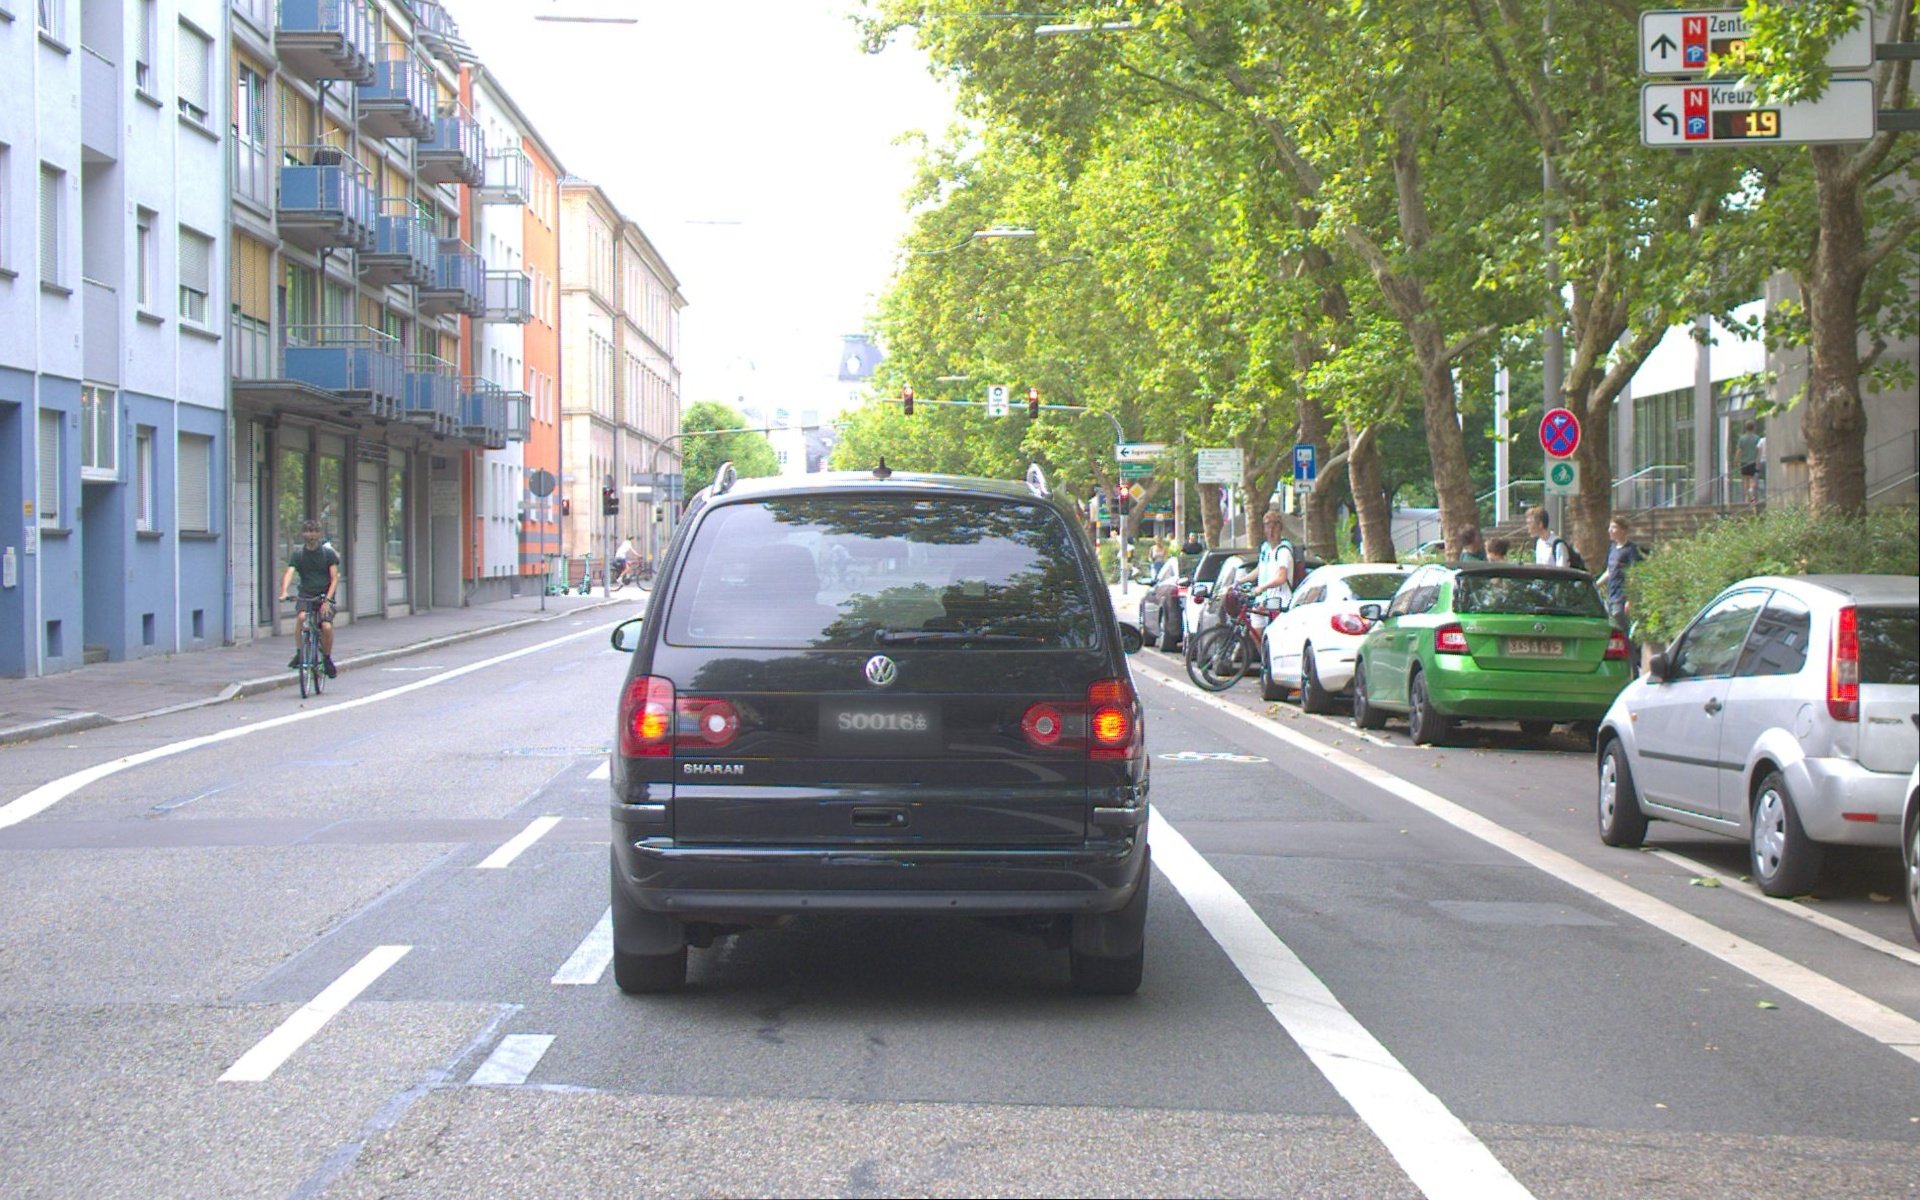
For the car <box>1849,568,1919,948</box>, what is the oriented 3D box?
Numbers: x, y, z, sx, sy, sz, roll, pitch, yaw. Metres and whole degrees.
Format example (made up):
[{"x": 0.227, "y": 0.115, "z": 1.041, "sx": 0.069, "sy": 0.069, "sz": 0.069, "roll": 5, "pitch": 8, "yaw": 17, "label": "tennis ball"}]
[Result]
[{"x": 4.580, "y": 0.656, "z": 12.027, "sx": 1.754, "sy": 1.442, "sz": 4.218, "roll": 2, "pitch": 1, "yaw": -1, "label": "car"}]

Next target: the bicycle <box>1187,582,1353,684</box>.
[{"x": 3.449, "y": 0.364, "z": 38.232, "sx": 1.734, "sy": 1.102, "sz": 0.552, "roll": 1, "pitch": 1, "yaw": -12, "label": "bicycle"}]

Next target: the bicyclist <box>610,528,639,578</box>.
[{"x": -10.462, "y": -1.467, "z": 107.256, "sx": 0.855, "sy": 1.562, "sz": 0.577, "roll": 1, "pitch": 0, "yaw": -9, "label": "bicyclist"}]

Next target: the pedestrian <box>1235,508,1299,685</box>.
[{"x": 3.385, "y": -0.048, "z": 37.954, "sx": 0.474, "sy": 1.928, "sz": 0.745, "roll": 1, "pitch": 1, "yaw": -12, "label": "pedestrian"}]

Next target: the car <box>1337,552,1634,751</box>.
[{"x": 4.235, "y": 0.370, "z": 28.244, "sx": 1.587, "sy": 1.445, "sz": 3.806, "roll": 2, "pitch": 1, "yaw": -3, "label": "car"}]

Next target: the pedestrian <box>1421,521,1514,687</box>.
[{"x": 5.631, "y": 0.042, "z": 38.170, "sx": 0.871, "sy": 1.810, "sz": 0.780, "roll": 1, "pitch": 1, "yaw": -1, "label": "pedestrian"}]

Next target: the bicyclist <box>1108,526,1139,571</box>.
[{"x": 5.471, "y": -1.727, "z": 115.293, "sx": 0.914, "sy": 1.461, "sz": 0.570, "roll": 1, "pitch": 1, "yaw": -11, "label": "bicyclist"}]

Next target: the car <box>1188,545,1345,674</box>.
[{"x": 3.782, "y": 0.081, "z": 42.837, "sx": 1.528, "sy": 1.497, "sz": 3.660, "roll": 1, "pitch": 1, "yaw": -1, "label": "car"}]

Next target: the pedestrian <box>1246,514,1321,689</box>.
[{"x": 3.447, "y": 0.010, "z": 36.646, "sx": 0.519, "sy": 1.839, "sz": 0.745, "roll": 1, "pitch": 1, "yaw": -16, "label": "pedestrian"}]

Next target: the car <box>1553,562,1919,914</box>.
[{"x": 4.210, "y": 0.582, "z": 16.571, "sx": 1.642, "sy": 1.442, "sz": 3.883, "roll": 2, "pitch": 1, "yaw": -6, "label": "car"}]

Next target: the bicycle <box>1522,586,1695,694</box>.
[{"x": 6.978, "y": 0.433, "z": 36.973, "sx": 1.766, "sy": 1.128, "sz": 0.462, "roll": 1, "pitch": 1, "yaw": -13, "label": "bicycle"}]

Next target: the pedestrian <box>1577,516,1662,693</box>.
[{"x": 7.007, "y": 0.043, "z": 36.561, "sx": 0.721, "sy": 1.848, "sz": 0.703, "roll": 1, "pitch": 1, "yaw": -1, "label": "pedestrian"}]

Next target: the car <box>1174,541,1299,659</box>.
[{"x": 3.782, "y": -0.023, "z": 47.382, "sx": 1.535, "sy": 1.538, "sz": 2.599, "roll": 2, "pitch": 1, "yaw": 2, "label": "car"}]

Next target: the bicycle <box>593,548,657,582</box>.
[{"x": -10.446, "y": -1.084, "z": 107.260, "sx": 1.924, "sy": 1.025, "sz": 0.583, "roll": 1, "pitch": 1, "yaw": -9, "label": "bicycle"}]

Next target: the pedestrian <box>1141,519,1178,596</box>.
[{"x": 4.690, "y": -1.009, "z": 81.012, "sx": 0.710, "sy": 1.777, "sz": 1.034, "roll": -2, "pitch": 0, "yaw": -2, "label": "pedestrian"}]

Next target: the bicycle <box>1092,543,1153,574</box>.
[{"x": 5.445, "y": -1.388, "z": 115.301, "sx": 1.924, "sy": 1.025, "sz": 0.583, "roll": 1, "pitch": 1, "yaw": -11, "label": "bicycle"}]

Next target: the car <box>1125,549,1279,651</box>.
[{"x": 3.602, "y": -0.037, "z": 51.845, "sx": 1.697, "sy": 1.420, "sz": 4.423, "roll": 1, "pitch": 1, "yaw": -4, "label": "car"}]

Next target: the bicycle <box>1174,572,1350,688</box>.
[{"x": 3.244, "y": 0.319, "z": 36.921, "sx": 1.788, "sy": 1.213, "sz": 0.553, "roll": 1, "pitch": 1, "yaw": -18, "label": "bicycle"}]

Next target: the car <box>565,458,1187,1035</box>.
[{"x": -0.336, "y": 0.400, "z": 12.668, "sx": 1.874, "sy": 1.739, "sz": 4.574, "roll": 0, "pitch": 1, "yaw": -2, "label": "car"}]

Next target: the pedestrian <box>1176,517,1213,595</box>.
[{"x": 5.515, "y": -1.039, "z": 80.976, "sx": 0.715, "sy": 1.794, "sz": 1.034, "roll": -2, "pitch": 0, "yaw": -2, "label": "pedestrian"}]

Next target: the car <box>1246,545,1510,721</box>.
[{"x": 3.962, "y": 0.263, "z": 33.277, "sx": 1.680, "sy": 1.511, "sz": 4.545, "roll": 2, "pitch": 1, "yaw": -3, "label": "car"}]

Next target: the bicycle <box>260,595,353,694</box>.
[{"x": -7.107, "y": 0.469, "z": 37.457, "sx": 0.646, "sy": 1.011, "sz": 2.077, "roll": -1, "pitch": 1, "yaw": -1, "label": "bicycle"}]

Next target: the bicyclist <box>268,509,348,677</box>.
[{"x": -7.119, "y": -0.079, "z": 37.567, "sx": 0.652, "sy": 1.804, "sz": 1.046, "roll": -1, "pitch": 0, "yaw": -1, "label": "bicyclist"}]

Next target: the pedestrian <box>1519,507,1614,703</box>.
[{"x": 6.283, "y": 0.044, "z": 35.647, "sx": 0.793, "sy": 1.990, "sz": 0.750, "roll": 1, "pitch": 1, "yaw": -1, "label": "pedestrian"}]

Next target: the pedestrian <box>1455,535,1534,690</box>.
[{"x": 5.809, "y": 0.128, "z": 37.392, "sx": 0.721, "sy": 1.652, "sz": 0.655, "roll": 1, "pitch": 1, "yaw": -1, "label": "pedestrian"}]

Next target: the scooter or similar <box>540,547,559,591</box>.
[{"x": -11.313, "y": -0.856, "z": 94.780, "sx": 0.378, "sy": 1.179, "sz": 1.390, "roll": 0, "pitch": -1, "yaw": -1, "label": "scooter or similar"}]
